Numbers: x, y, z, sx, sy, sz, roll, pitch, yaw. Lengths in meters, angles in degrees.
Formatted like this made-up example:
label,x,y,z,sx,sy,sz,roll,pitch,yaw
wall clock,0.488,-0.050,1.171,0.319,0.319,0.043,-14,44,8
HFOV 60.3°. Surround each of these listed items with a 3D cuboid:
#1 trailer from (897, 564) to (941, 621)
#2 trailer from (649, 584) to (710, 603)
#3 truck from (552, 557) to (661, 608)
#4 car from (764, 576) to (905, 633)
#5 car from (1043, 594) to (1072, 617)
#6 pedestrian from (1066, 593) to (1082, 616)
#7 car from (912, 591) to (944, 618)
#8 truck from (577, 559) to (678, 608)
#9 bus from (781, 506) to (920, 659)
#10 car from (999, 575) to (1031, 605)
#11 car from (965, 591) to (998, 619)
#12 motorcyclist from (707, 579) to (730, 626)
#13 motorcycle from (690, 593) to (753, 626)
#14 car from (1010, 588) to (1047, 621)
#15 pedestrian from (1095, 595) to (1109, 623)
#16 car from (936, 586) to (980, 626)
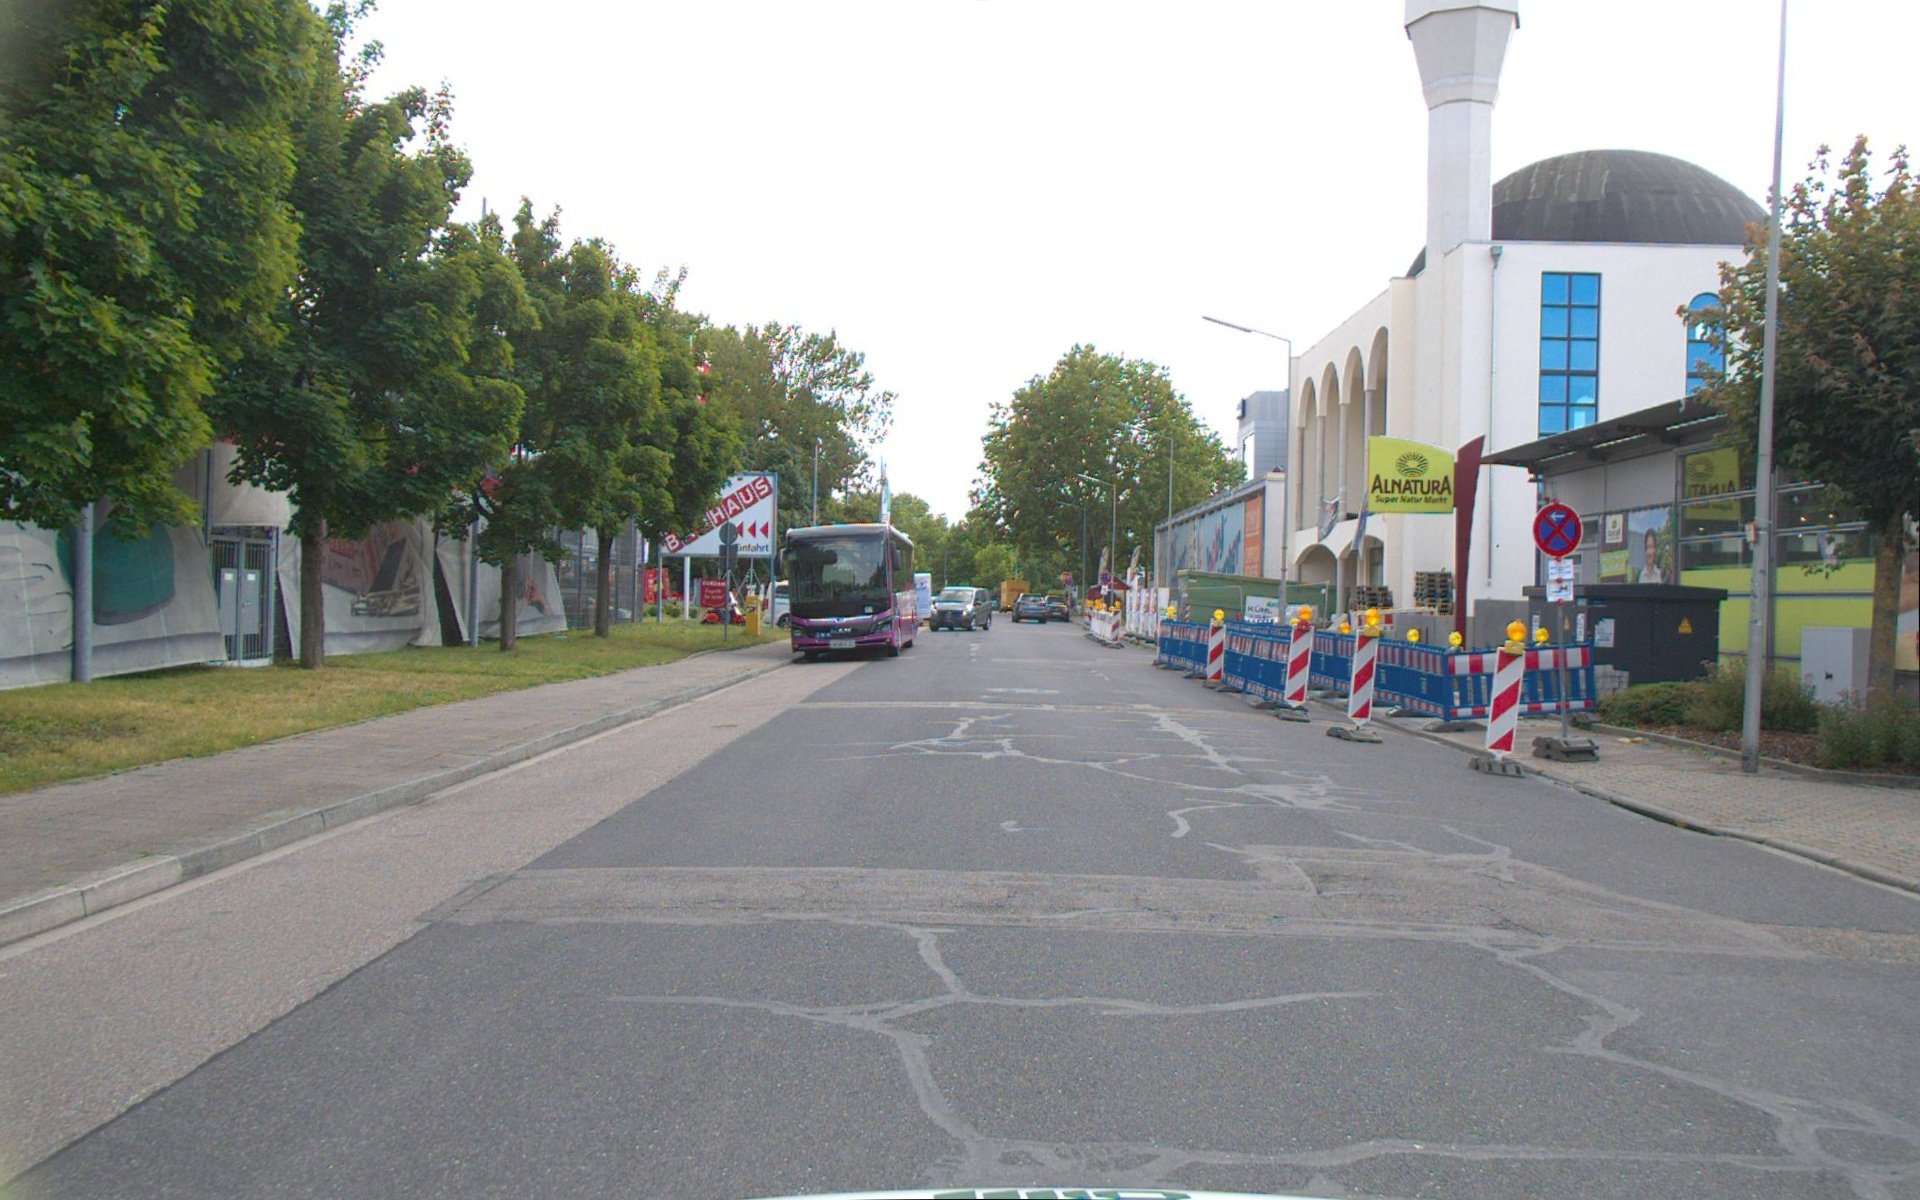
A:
label,x,y,z,sx,sy,sz,roll,pitch,yaw
trailer,-2.085,-0.404,85.314,2.095,2.832,4.703,-1,0,1
trailer,-19.220,-0.445,113.436,3.736,1.211,1.716,1,1,7
truck,-19.972,-0.992,93.556,5.634,2.639,1.816,2,-2,3
car,-4.644,0.150,61.638,4.894,1.983,1.994,1,0,6
car,6.522,0.347,110.832,1.771,1.415,4.589,4,0,2
pedestrian,9.616,0.402,139.281,0.984,1.881,1.224,2,0,-17
car,-1.853,0.254,96.098,1.729,1.505,4.235,-1,0,0
truck,-19.421,-0.971,96.739,5.433,2.639,1.779,2,-2,1
bus,-2.729,-0.449,45.404,2.608,3.482,13.220,-2,0,1
car,4.914,-0.894,149.283,2.156,2.623,6.398,1,0,-5
car,1.163,0.243,88.918,1.759,1.484,4.385,0,0,1
motorcyclist,-9.084,0.089,62.224,0.660,1.753,0.994,1,0,2
motorcycle,-8.950,0.353,62.216,2.175,1.235,0.994,1,0,1
car,4.040,0.257,97.942,1.922,1.847,4.275,1,0,-1
pedestrian,7.944,0.504,92.403,0.667,1.560,1.130,2,0,1
car,-0.087,0.254,71.908,1.830,1.658,4.127,1,0,0
